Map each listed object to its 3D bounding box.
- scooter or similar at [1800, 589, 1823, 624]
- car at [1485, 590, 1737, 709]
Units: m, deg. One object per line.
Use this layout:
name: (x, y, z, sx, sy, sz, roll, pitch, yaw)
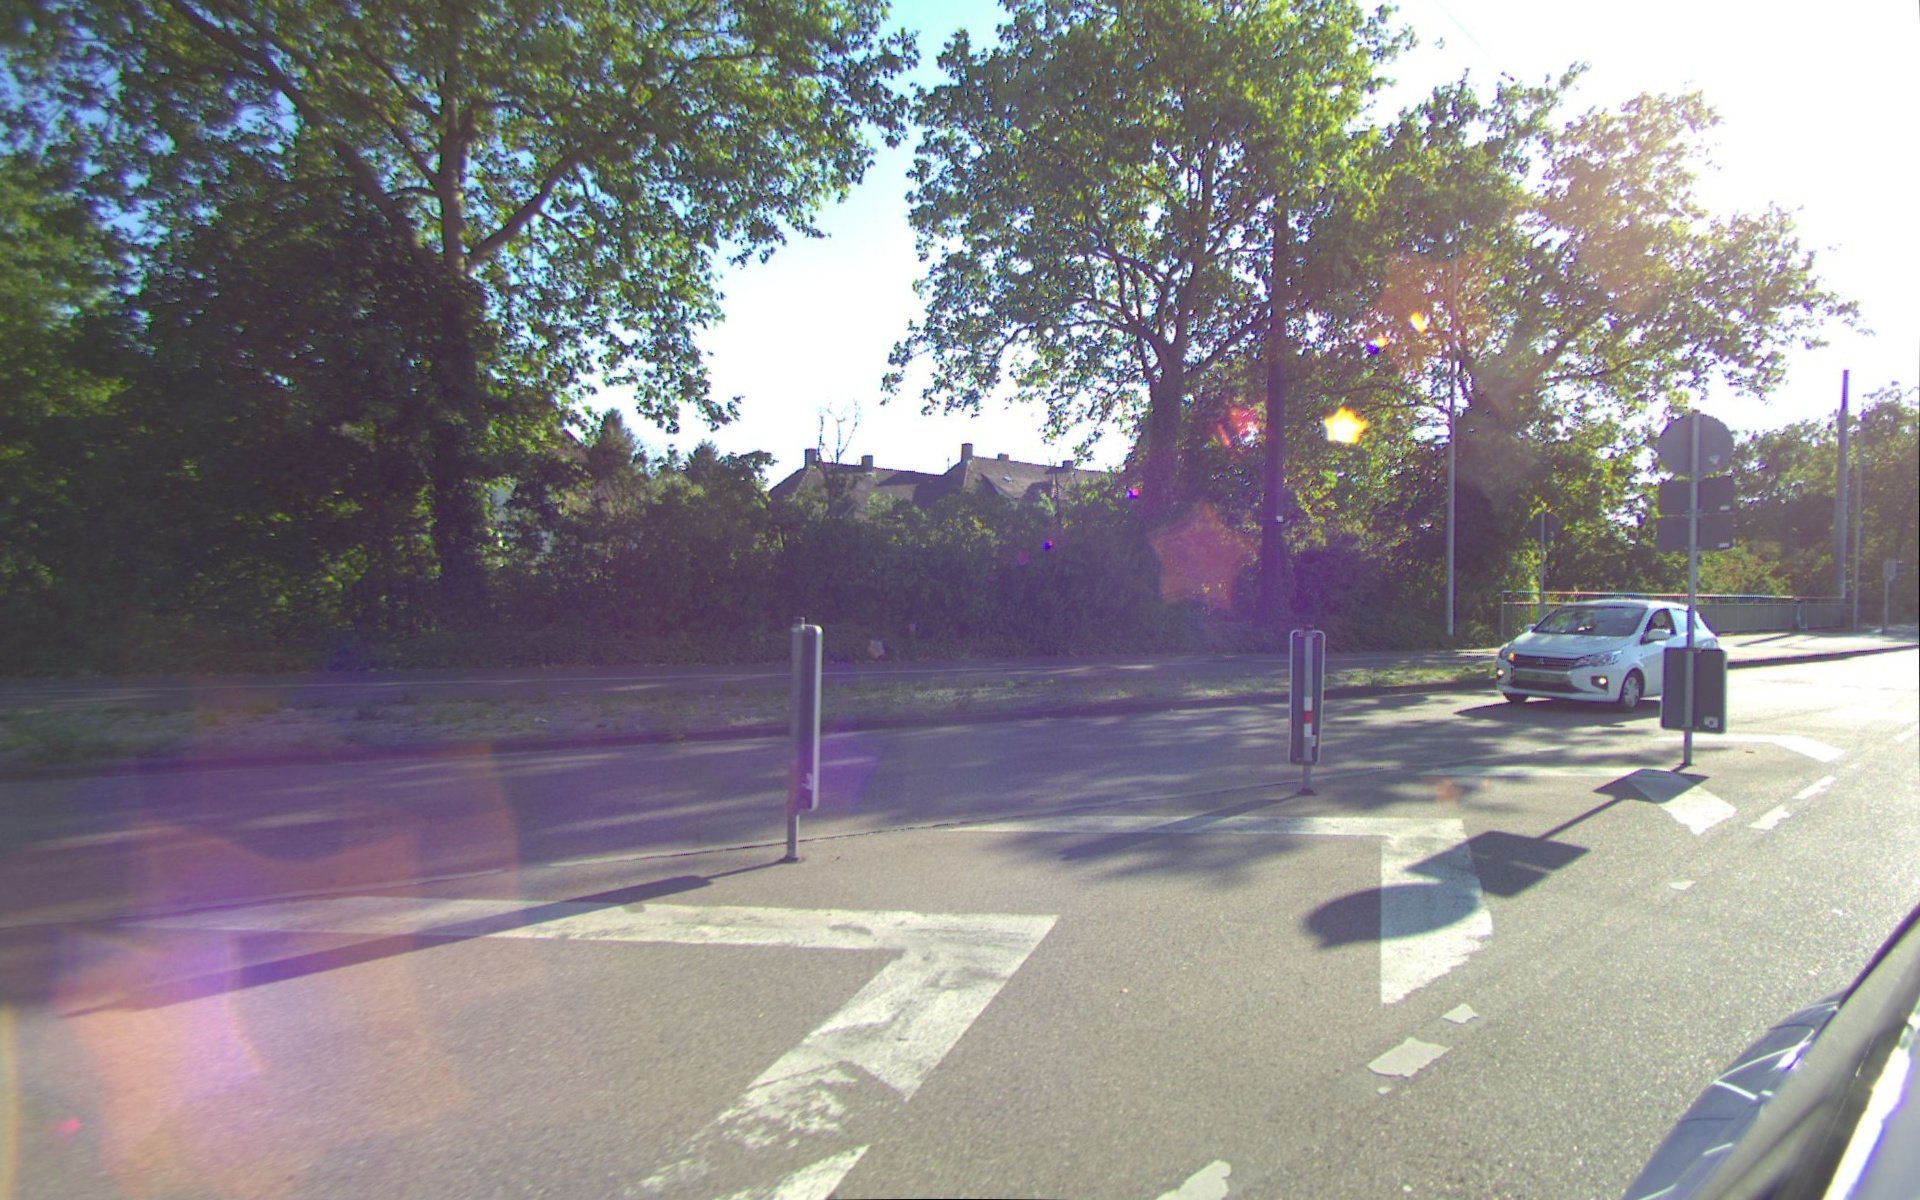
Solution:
scooter or similar: (32.060, 0.242, 38.102, 1.063, 1.291, 0.427, 0, 1, -39)
car: (9.298, 0.613, 14.396, 3.671, 1.492, 1.673, 0, 0, -33)
